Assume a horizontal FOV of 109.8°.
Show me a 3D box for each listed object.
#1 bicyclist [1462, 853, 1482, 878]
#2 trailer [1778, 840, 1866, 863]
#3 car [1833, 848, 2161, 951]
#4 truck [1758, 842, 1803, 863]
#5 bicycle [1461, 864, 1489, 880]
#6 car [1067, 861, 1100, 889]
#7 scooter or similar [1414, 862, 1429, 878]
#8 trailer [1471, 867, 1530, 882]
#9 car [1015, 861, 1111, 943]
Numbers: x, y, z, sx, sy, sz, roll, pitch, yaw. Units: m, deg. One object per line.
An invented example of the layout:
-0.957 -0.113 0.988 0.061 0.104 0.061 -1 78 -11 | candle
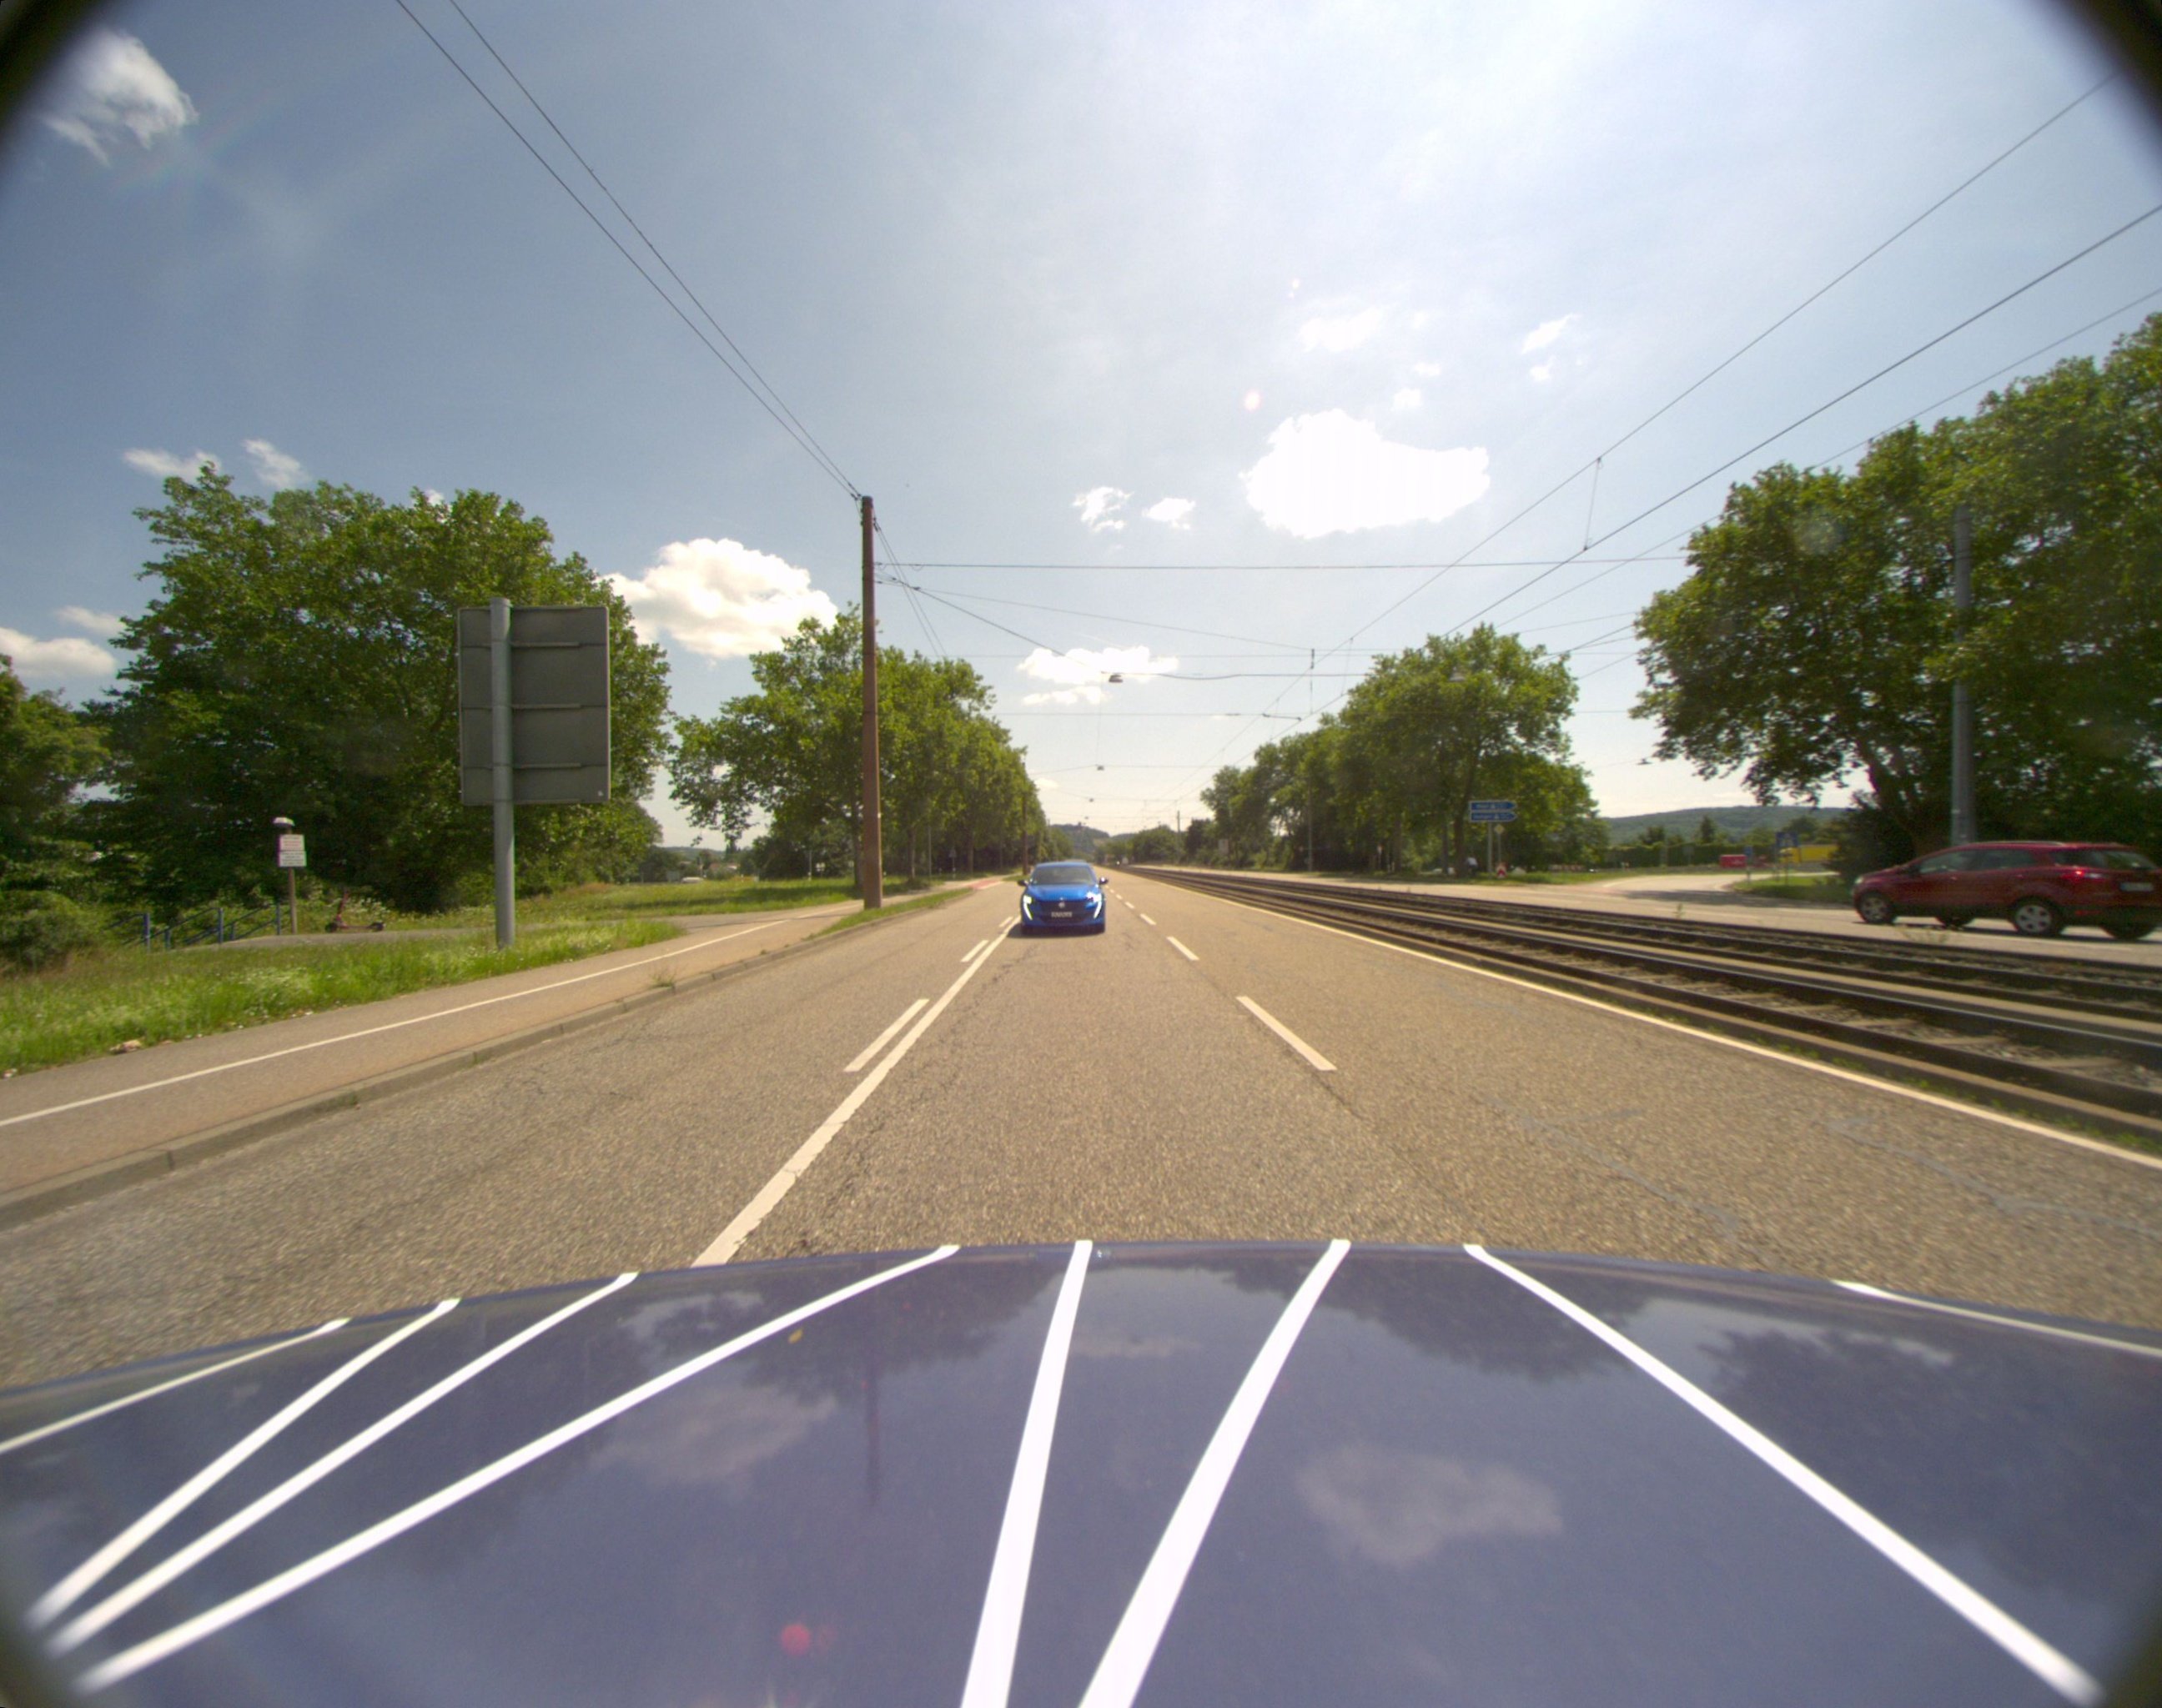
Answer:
23.950 0.703 46.585 0.623 1.509 1.160 -1 0 -1 | bicyclist
148.483 -0.453 152.458 12.182 4.131 3.142 -2 -1 28 | trailer
16.938 0.724 14.068 1.806 1.615 4.211 0 0 -1 | car
142.934 -0.256 155.346 5.997 4.131 3.142 -2 -1 28 | truck
24.105 1.101 46.551 0.623 0.934 2.091 -1 0 -1 | bicycle
0.124 1.163 43.178 1.771 1.422 4.000 -2 0 0 | car
25.541 1.189 57.031 0.462 1.144 1.235 -2 0 -2 | scooter or similar
102.021 4.975 185.005 12.346 3.420 3.344 -1 0 30 | trailer
-0.352 0.936 16.653 1.771 1.463 4.467 -2 0 0 | car
